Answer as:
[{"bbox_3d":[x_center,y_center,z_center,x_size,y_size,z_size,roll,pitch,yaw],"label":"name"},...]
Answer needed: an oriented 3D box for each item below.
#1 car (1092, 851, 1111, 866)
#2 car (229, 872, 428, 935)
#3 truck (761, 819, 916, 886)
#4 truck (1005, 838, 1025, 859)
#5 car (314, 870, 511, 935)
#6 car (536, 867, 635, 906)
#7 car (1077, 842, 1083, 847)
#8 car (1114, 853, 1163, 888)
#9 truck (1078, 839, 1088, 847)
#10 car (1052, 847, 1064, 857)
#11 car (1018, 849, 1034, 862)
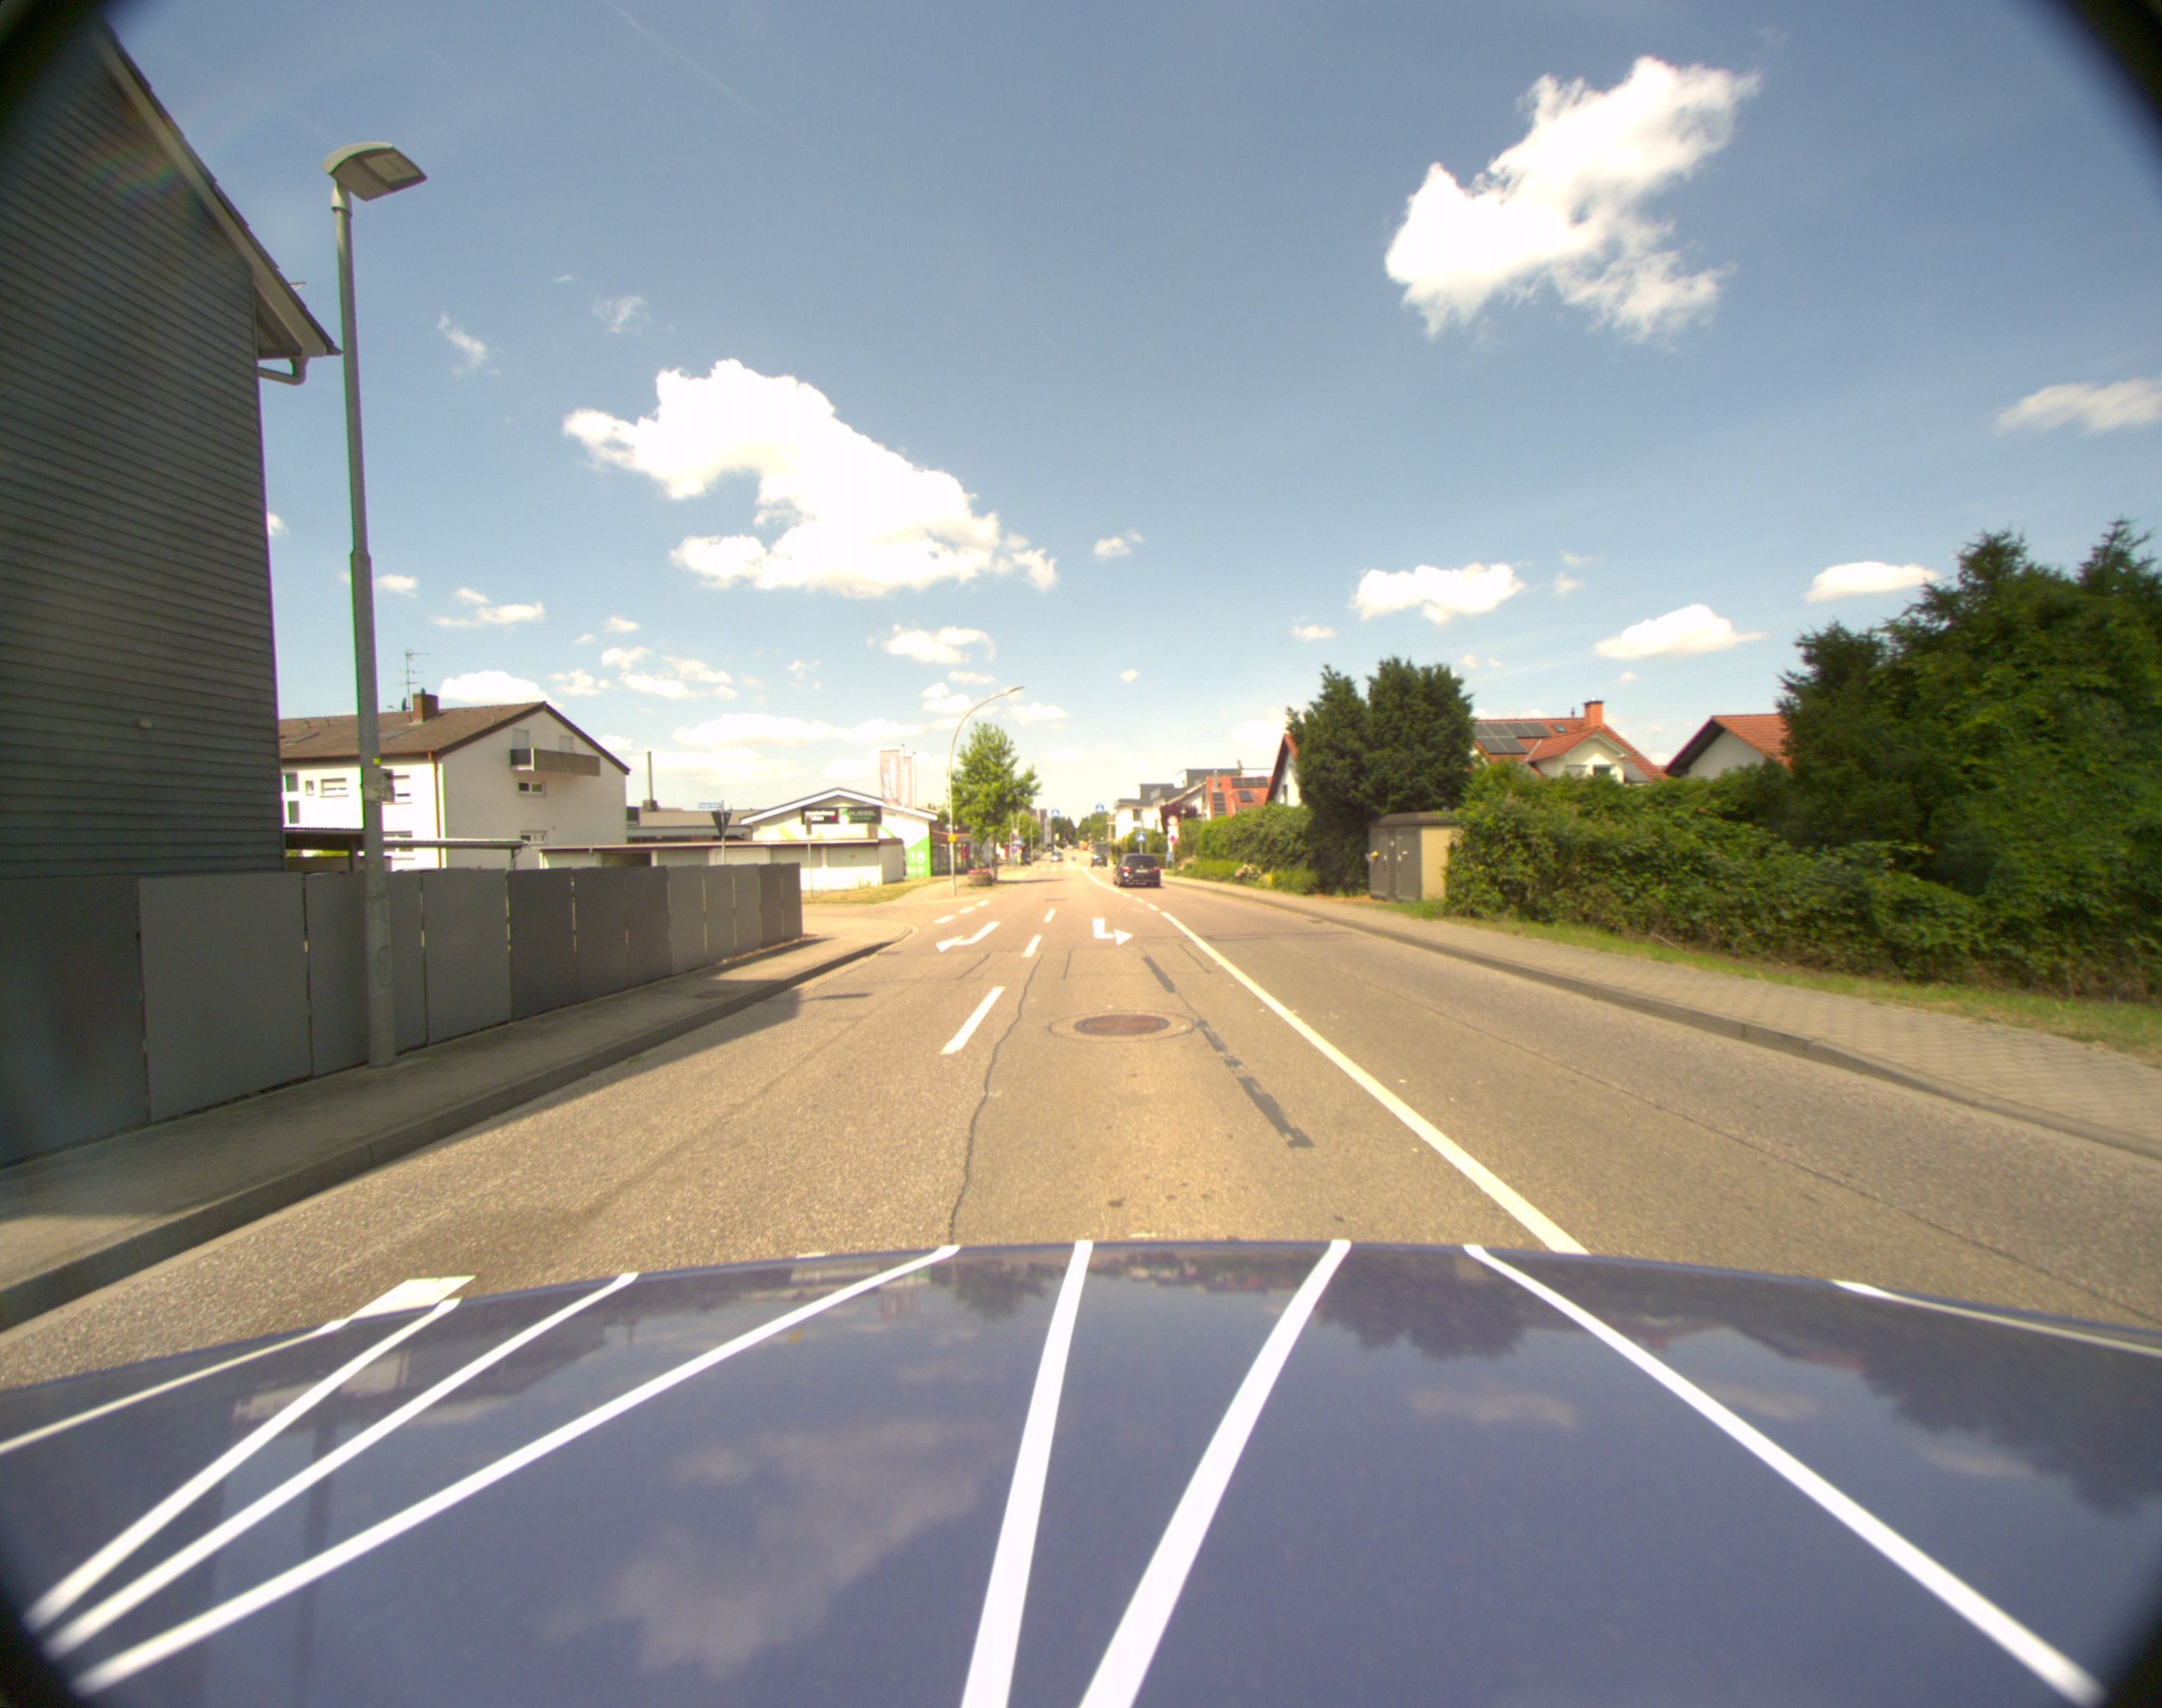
[{"bbox_3d":[2.021,0.422,76.597,1.785,1.425,3.871,0,0,-1],"label":"car"},{"bbox_3d":[-21.050,1.327,21.513,1.741,1.577,3.854,-1,-1,2],"label":"car"},{"bbox_3d":[-14.307,-0.129,45.289,8.192,3.553,2.676,-2,2,-2],"label":"truck"},{"bbox_3d":[-9.133,-0.813,104.788,2.580,2.746,6.329,0,1,-7],"label":"truck"},{"bbox_3d":[-18.569,1.278,21.422,1.741,1.638,4.217,-1,-1,2],"label":"car"},{"bbox_3d":[-22.211,1.409,34.282,1.679,1.494,4.131,-2,1,0],"label":"car"},{"bbox_3d":[-0.406,-2.983,235.132,1.799,1.480,3.613,0,1,2],"label":"car"},{"bbox_3d":[2.506,0.682,34.176,1.868,1.434,4.670,0,1,0],"label":"car"},{"bbox_3d":[0.798,-3.584,249.580,2.863,2.695,6.792,0,1,4],"label":"truck"},{"bbox_3d":[-3.318,-0.331,110.447,1.729,1.484,3.759,0,1,-1],"label":"car"},{"bbox_3d":[-6.543,0.164,89.873,1.729,1.484,3.758,0,1,-2],"label":"car"}]
